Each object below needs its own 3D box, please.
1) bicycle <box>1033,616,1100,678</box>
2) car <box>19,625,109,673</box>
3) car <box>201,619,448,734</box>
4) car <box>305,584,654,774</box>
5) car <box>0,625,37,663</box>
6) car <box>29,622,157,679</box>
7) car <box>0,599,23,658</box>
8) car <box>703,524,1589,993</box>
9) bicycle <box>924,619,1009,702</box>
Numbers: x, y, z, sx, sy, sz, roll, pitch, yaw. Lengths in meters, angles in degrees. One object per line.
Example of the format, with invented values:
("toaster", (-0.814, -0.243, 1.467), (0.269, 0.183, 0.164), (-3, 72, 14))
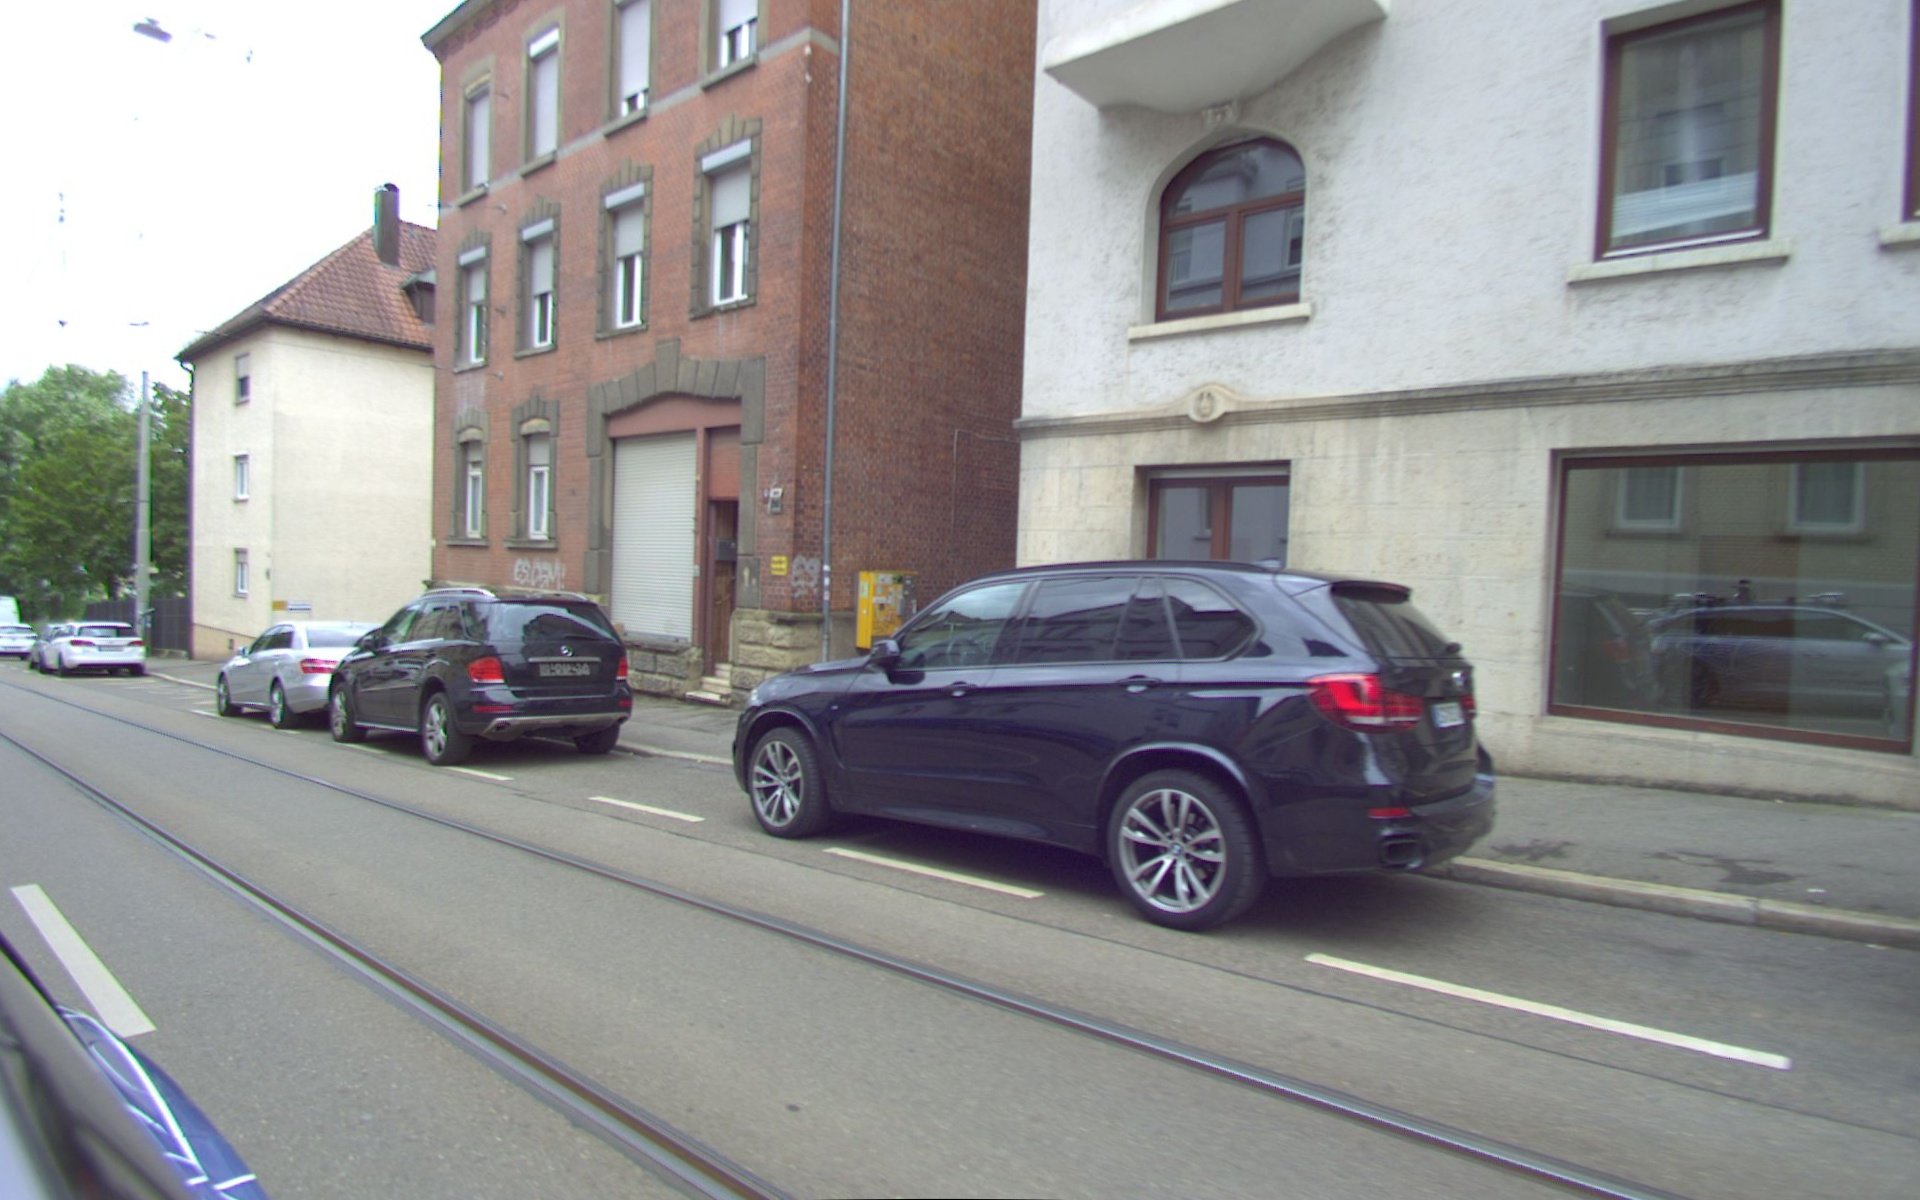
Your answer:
("bicycle", (1.820, 0.767, 17.123), (0.342, 0.908, 1.656), (2, 3, 36))
("car", (-27.405, 1.484, 30.922), (3.806, 1.379, 1.583), (-2, -5, 42))
("car", (-9.537, 1.042, 15.016), (4.837, 1.440, 1.808), (-2, -3, 42))
("car", (-5.641, 0.797, 11.550), (4.911, 1.731, 1.808), (-2, -3, 42))
("car", (-37.465, 1.684, 39.443), (4.311, 1.413, 1.701), (-2, -4, 41))
("car", (-23.822, 1.386, 27.738), (4.622, 1.440, 1.809), (-1, -4, 39))
("car", (-45.010, 1.299, 46.369), (6.213, 2.627, 2.137), (-1, -4, 40))
("car", (0.685, 0.647, 5.971), (4.890, 1.677, 1.853), (-2, -3, 42))
("bicycle", (0.121, 0.846, 14.634), (0.342, 1.042, 1.656), (2, 3, 36))
